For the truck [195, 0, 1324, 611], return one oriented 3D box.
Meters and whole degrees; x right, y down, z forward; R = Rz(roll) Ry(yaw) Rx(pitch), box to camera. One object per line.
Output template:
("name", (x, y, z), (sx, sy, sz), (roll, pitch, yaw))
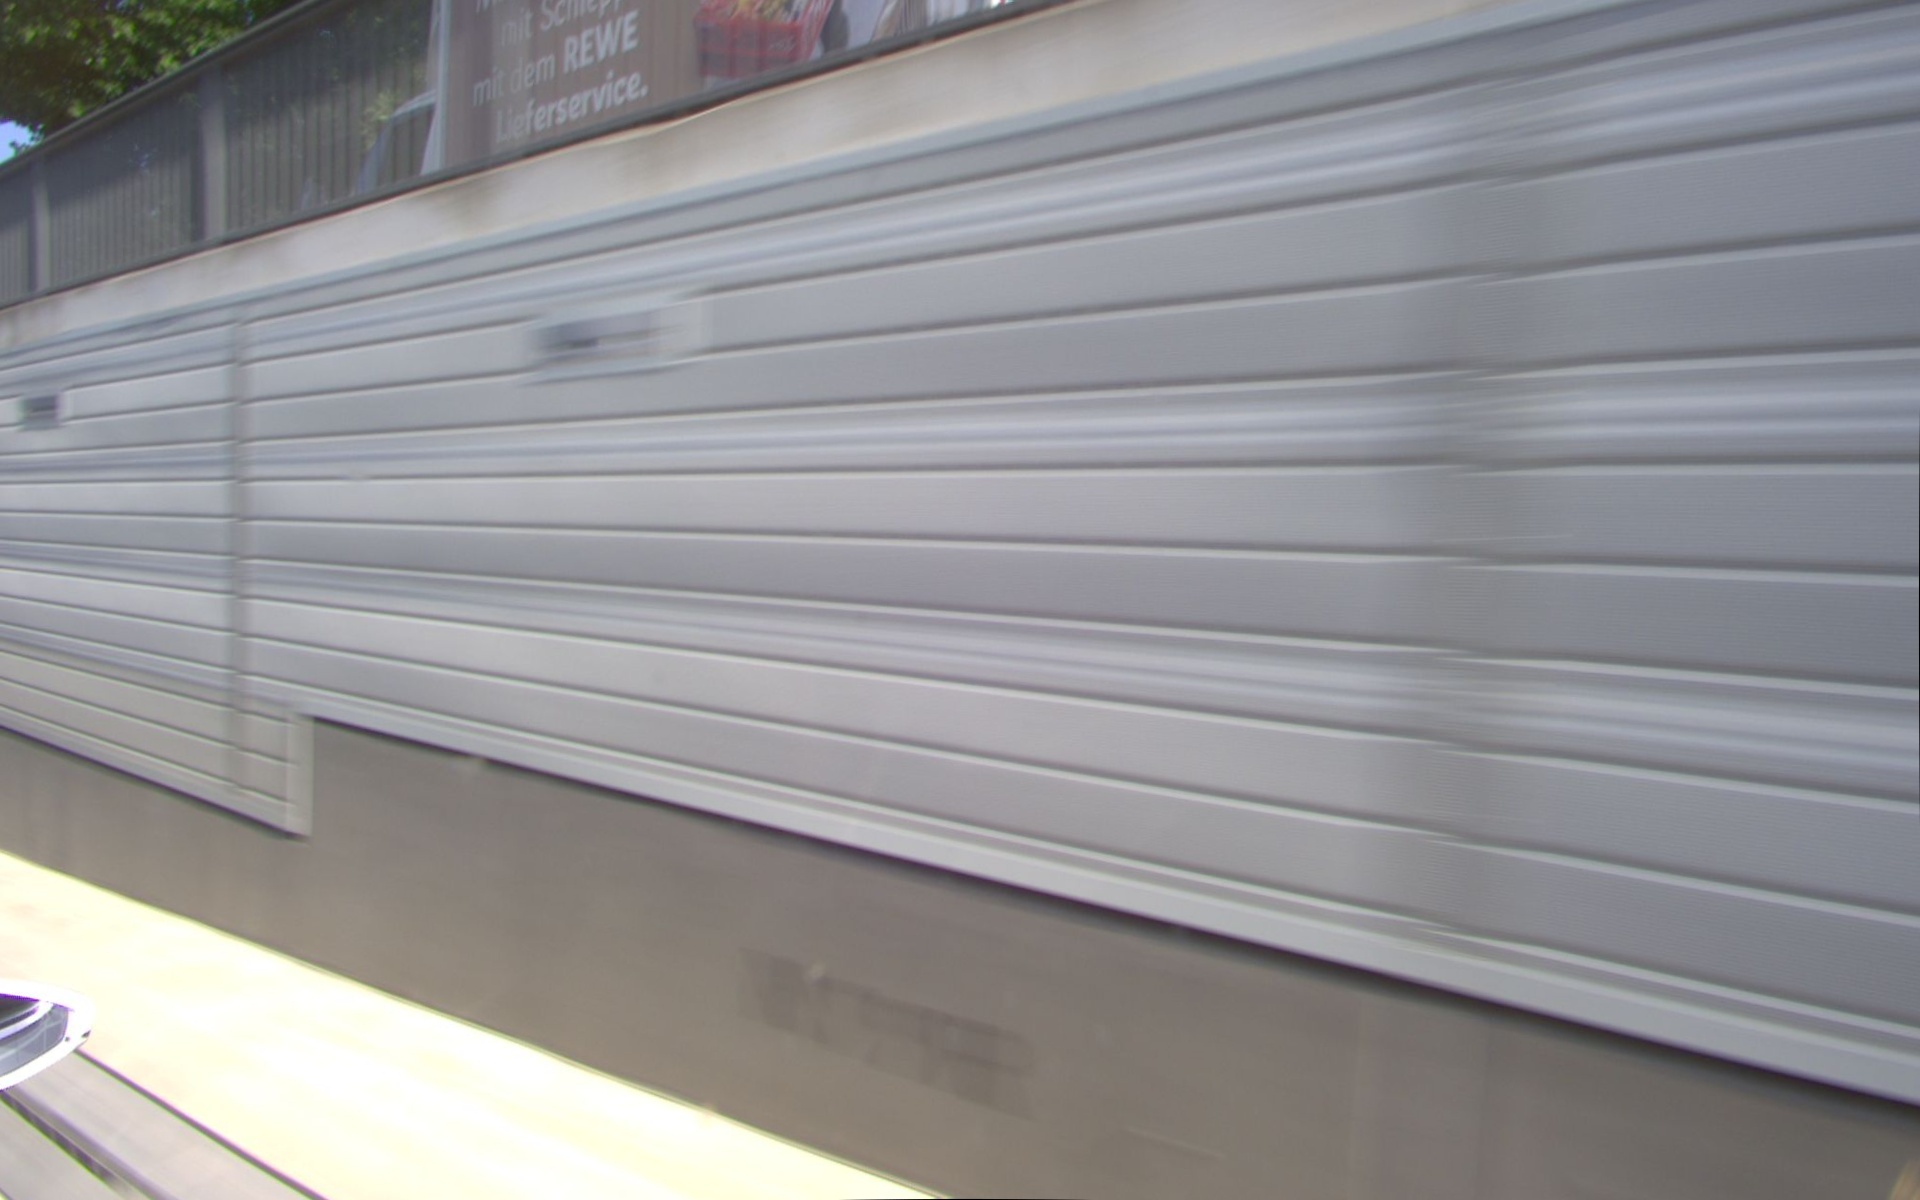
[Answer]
("truck", (-1.880, -1.503, 6.589), (7.708, 3.102, 2.496), (0, 1, 33))
